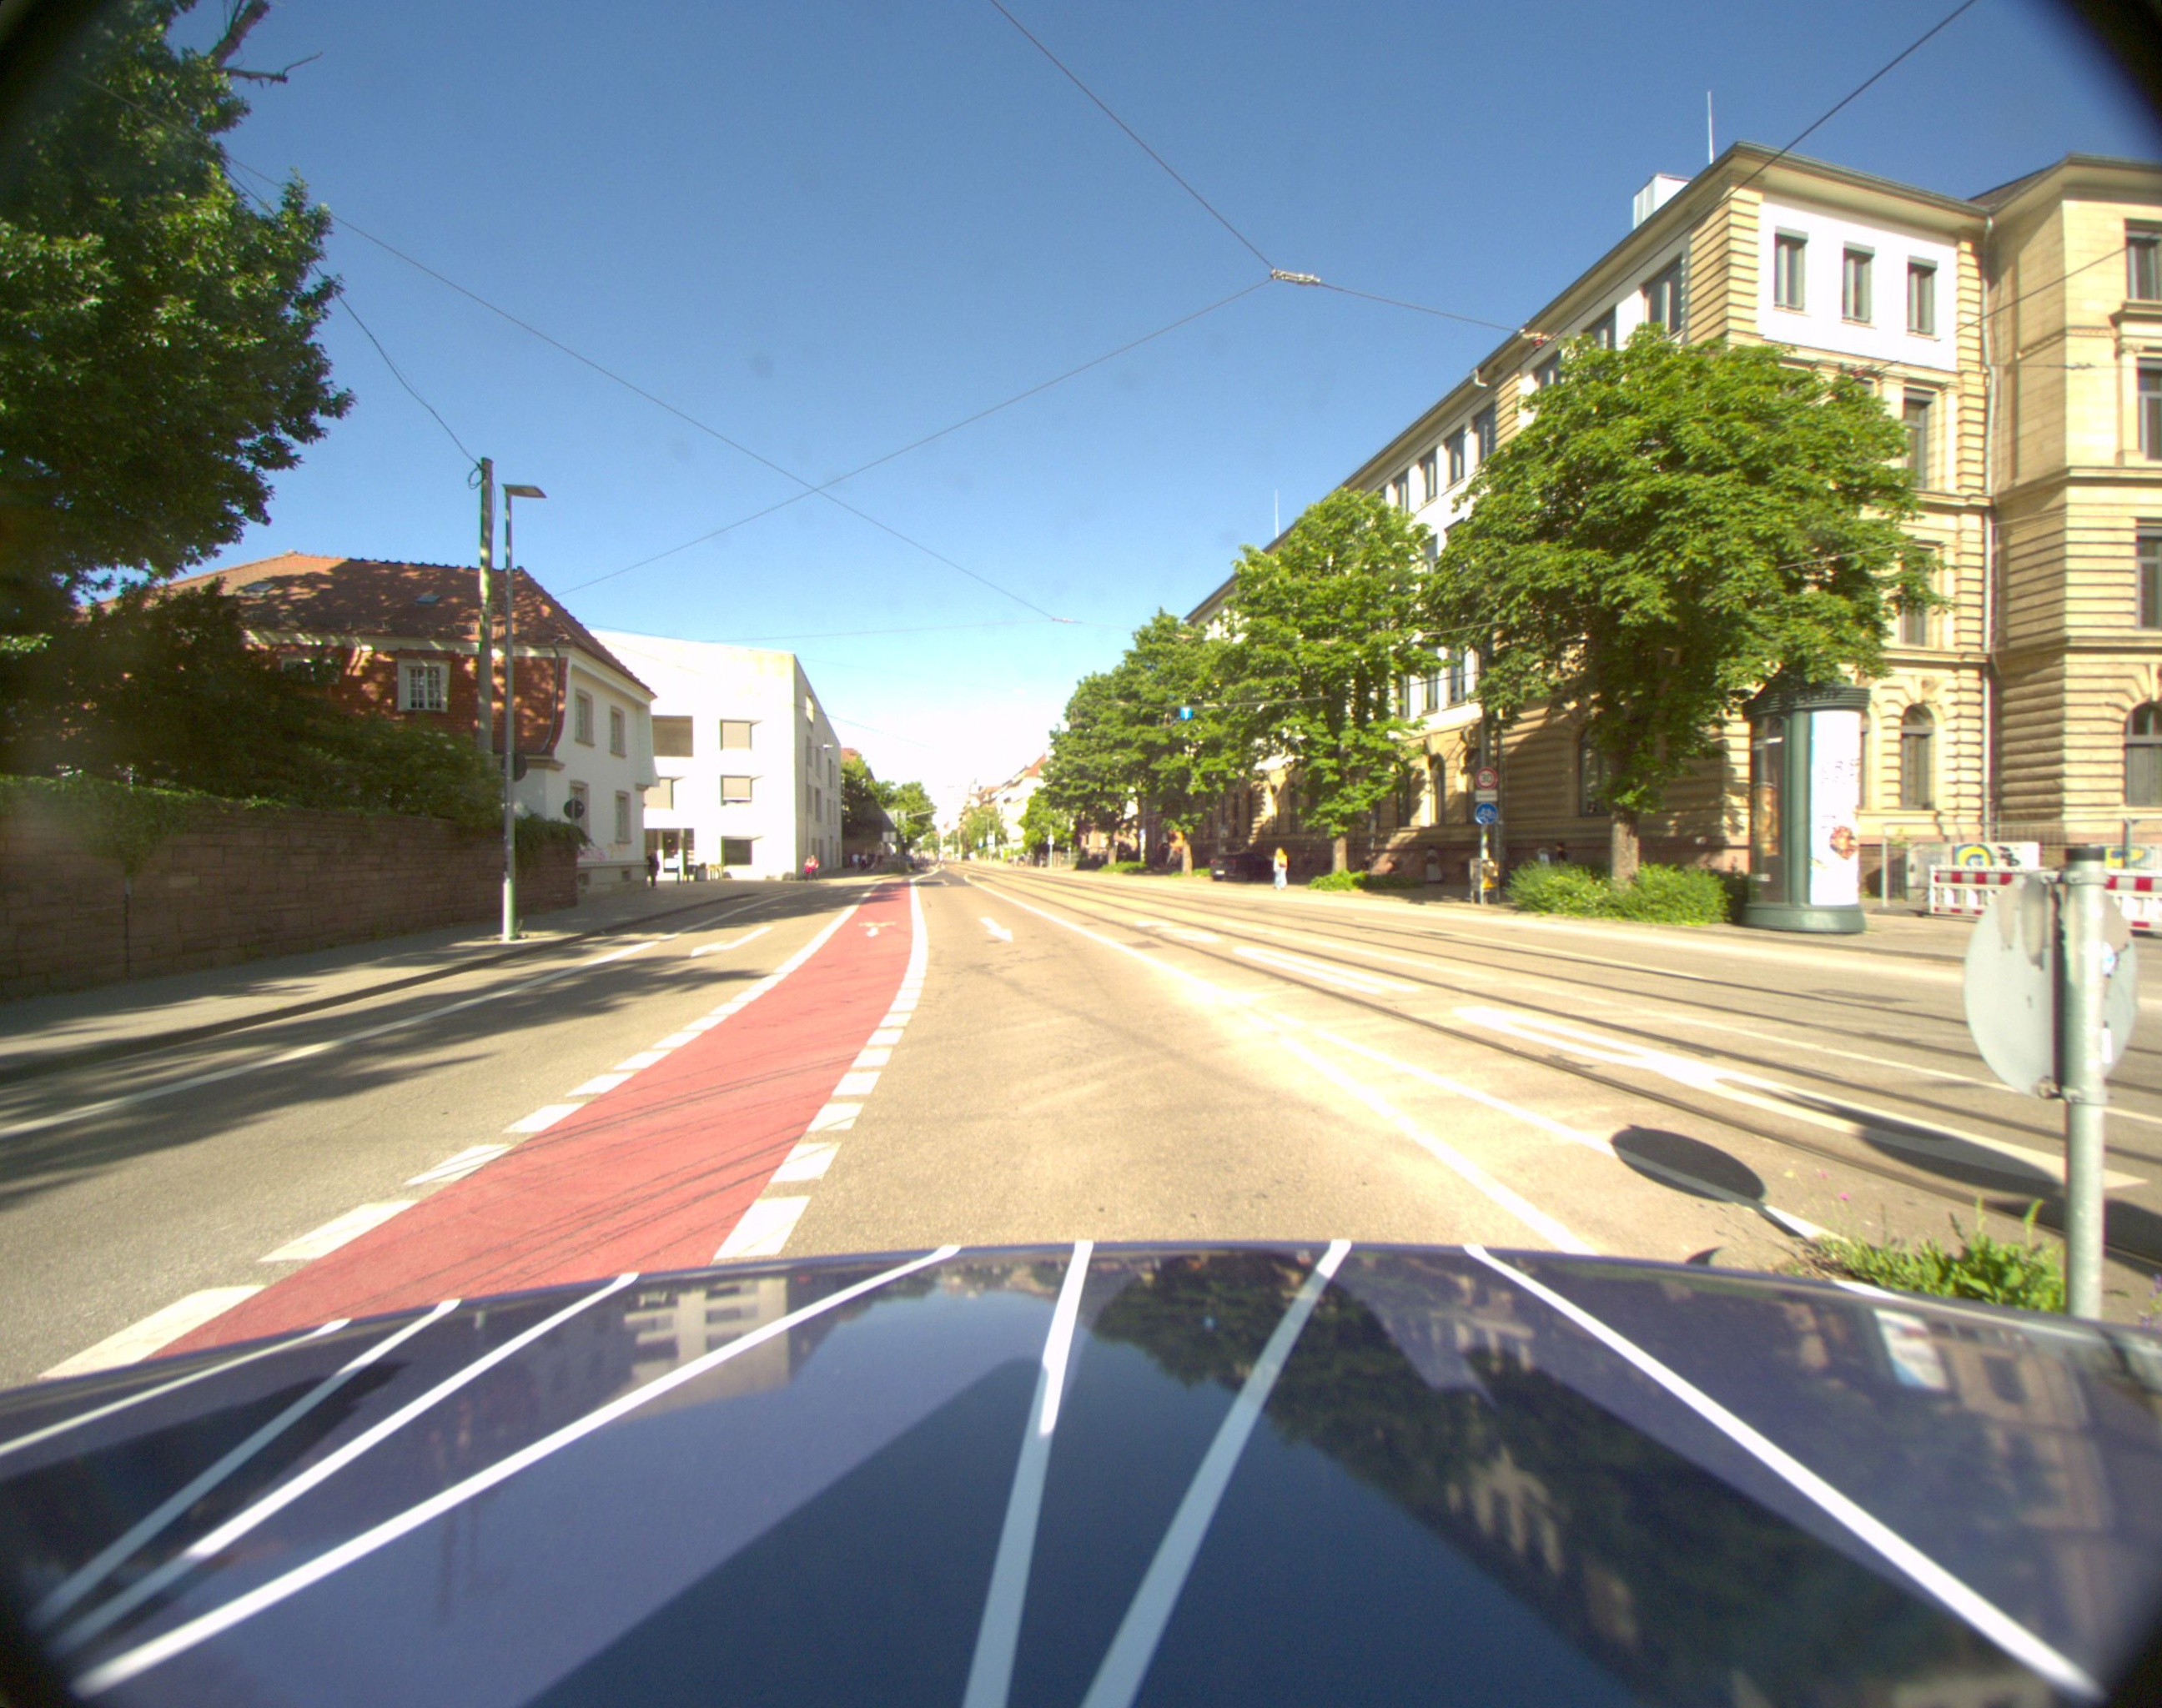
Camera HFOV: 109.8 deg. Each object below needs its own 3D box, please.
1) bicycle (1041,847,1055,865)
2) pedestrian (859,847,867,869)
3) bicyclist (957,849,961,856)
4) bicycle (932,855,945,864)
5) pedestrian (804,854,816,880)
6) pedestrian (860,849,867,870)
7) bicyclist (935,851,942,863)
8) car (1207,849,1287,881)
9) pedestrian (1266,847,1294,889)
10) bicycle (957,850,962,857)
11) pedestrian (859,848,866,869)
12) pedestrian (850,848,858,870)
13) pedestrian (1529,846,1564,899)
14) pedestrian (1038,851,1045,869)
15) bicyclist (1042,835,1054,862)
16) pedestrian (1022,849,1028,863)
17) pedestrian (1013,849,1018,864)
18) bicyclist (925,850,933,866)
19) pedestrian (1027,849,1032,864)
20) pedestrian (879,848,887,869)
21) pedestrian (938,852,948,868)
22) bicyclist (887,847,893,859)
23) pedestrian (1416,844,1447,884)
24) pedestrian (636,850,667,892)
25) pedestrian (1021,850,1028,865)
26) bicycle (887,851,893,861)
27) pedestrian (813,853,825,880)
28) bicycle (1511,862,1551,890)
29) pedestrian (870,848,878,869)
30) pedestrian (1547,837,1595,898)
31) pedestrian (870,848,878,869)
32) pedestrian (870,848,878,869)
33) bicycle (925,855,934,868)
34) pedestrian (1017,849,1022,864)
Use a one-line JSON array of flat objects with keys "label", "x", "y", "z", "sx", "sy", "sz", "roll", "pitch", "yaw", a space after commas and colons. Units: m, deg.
[{"label": "bicycle", "x": -3.735, "y": 0.173, "z": 86.262, "sx": 1.003, "sy": 1.876, "sz": 3.894, "roll": -1, "pitch": 2, "yaw": 4}, {"label": "pedestrian", "x": -18.198, "y": 0.355, "z": 63.490, "sx": 0.588, "sy": 1.795, "sz": 0.545, "roll": -1, "pitch": 1, "yaw": -13}, {"label": "bicyclist", "x": -30.213, "y": -0.473, "z": 188.295, "sx": 1.004, "sy": 1.712, "sz": 0.983, "roll": -2, "pitch": 2, "yaw": -12}, {"label": "bicycle", "x": -27.268, "y": 1.079, "z": 145.525, "sx": 1.005, "sy": 1.672, "sz": 2.976, "roll": -3, "pitch": 2, "yaw": -39}, {"label": "pedestrian", "x": -16.346, "y": 0.754, "z": 45.828, "sx": 0.534, "sy": 1.557, "sz": 0.520, "roll": -1, "pitch": 1, "yaw": -3}, {"label": "pedestrian", "x": -19.124, "y": 0.460, "z": 66.833, "sx": 0.588, "sy": 1.795, "sz": 0.545, "roll": -1, "pitch": 1, "yaw": -13}, {"label": "bicyclist", "x": -27.287, "y": 0.552, "z": 145.535, "sx": 1.005, "sy": 2.255, "sz": 1.018, "roll": -3, "pitch": 3, "yaw": -39}, {"label": "car", "x": 8.647, "y": 0.544, "z": 39.441, "sx": 4.118, "sy": 1.565, "sz": 1.916, "roll": -1, "pitch": 1, "yaw": -39}, {"label": "pedestrian", "x": 8.151, "y": 0.578, "z": 31.113, "sx": 0.771, "sy": 1.658, "sz": 1.034, "roll": 1, "pitch": -3, "yaw": -6}, {"label": "bicycle", "x": -30.200, "y": -0.096, "z": 188.315, "sx": 1.004, "sy": 1.672, "sz": 2.981, "roll": -2, "pitch": 2, "yaw": -12}, {"label": "pedestrian", "x": -18.817, "y": 0.368, "z": 65.458, "sx": 0.588, "sy": 1.795, "sz": 0.582, "roll": -1, "pitch": 1, "yaw": -13}, {"label": "pedestrian", "x": -18.905, "y": 0.413, "z": 63.326, "sx": 0.588, "sy": 1.795, "sz": 0.545, "roll": -1, "pitch": 1, "yaw": -13}, {"label": "pedestrian", "x": 13.995, "y": 0.538, "z": 22.851, "sx": 0.579, "sy": 1.553, "sz": 0.653, "roll": -1, "pitch": 1, "yaw": -12}, {"label": "pedestrian", "x": -4.119, "y": 0.649, "z": 79.662, "sx": 0.579, "sy": 1.845, "sz": 0.653, "roll": -1, "pitch": 1, "yaw": -16}, {"label": "bicyclist", "x": -3.752, "y": -0.661, "z": 86.342, "sx": 1.003, "sy": 2.959, "sz": 1.474, "roll": -1, "pitch": 2, "yaw": 5}, {"label": "pedestrian", "x": -7.105, "y": 0.255, "z": 96.171, "sx": 0.579, "sy": 1.845, "sz": 0.684, "roll": 0, "pitch": 1, "yaw": -11}, {"label": "pedestrian", "x": -8.205, "y": 0.309, "z": 95.279, "sx": 0.579, "sy": 1.845, "sz": 0.684, "roll": 0, "pitch": 1, "yaw": -11}, {"label": "bicyclist", "x": -14.611, "y": 0.380, "z": 73.197, "sx": 0.665, "sy": 1.453, "sz": 0.622, "roll": -2, "pitch": 2, "yaw": -8}, {"label": "pedestrian", "x": -6.491, "y": 0.329, "z": 95.732, "sx": 0.579, "sy": 1.845, "sz": 0.653, "roll": 0, "pitch": 1, "yaw": -11}, {"label": "pedestrian", "x": -16.672, "y": 0.390, "z": 64.059, "sx": 0.588, "sy": 1.717, "sz": 0.519, "roll": -1, "pitch": 1, "yaw": -13}, {"label": "pedestrian", "x": -15.618, "y": 0.654, "z": 86.036, "sx": 0.933, "sy": 1.728, "sz": 0.677, "roll": -1, "pitch": 1, "yaw": -31}, {"label": "bicyclist", "x": -35.251, "y": -0.205, "z": 140.205, "sx": 0.813, "sy": 2.194, "sz": 0.983, "roll": -2, "pitch": 2, "yaw": -10}, {"label": "pedestrian", "x": 14.340, "y": 0.400, "z": 31.082, "sx": 0.673, "sy": 1.558, "sz": 0.857, "roll": -5, "pitch": 2, "yaw": -16}, {"label": "pedestrian", "x": -17.755, "y": 0.701, "z": 31.380, "sx": 0.942, "sy": 1.668, "sz": 0.951, "roll": 1, "pitch": 1, "yaw": -39}, {"label": "pedestrian", "x": -6.934, "y": 0.448, "z": 93.570, "sx": 0.729, "sy": 1.845, "sz": 0.653, "roll": 0, "pitch": 1, "yaw": -9}, {"label": "bicycle", "x": -35.246, "y": 0.339, "z": 140.320, "sx": 0.831, "sy": 1.694, "sz": 2.169, "roll": -2, "pitch": 2, "yaw": -10}, {"label": "pedestrian", "x": -15.746, "y": 0.741, "z": 45.627, "sx": 0.534, "sy": 1.557, "sz": 0.520, "roll": -1, "pitch": 1, "yaw": -3}, {"label": "bicycle", "x": 15.277, "y": 0.738, "z": 25.823, "sx": 0.398, "sy": 0.898, "sz": 1.359, "roll": -2, "pitch": 2, "yaw": -10}, {"label": "pedestrian", "x": -18.270, "y": 0.391, "z": 67.055, "sx": 0.588, "sy": 1.795, "sz": 0.545, "roll": -1, "pitch": 1, "yaw": -13}, {"label": "pedestrian", "x": 13.782, "y": 0.360, "z": 21.391, "sx": 0.731, "sy": 1.660, "sz": 0.844, "roll": -2, "pitch": 4, "yaw": -26}, {"label": "pedestrian", "x": -17.341, "y": 0.377, "z": 63.530, "sx": 0.588, "sy": 1.795, "sz": 0.519, "roll": -1, "pitch": 1, "yaw": -13}, {"label": "pedestrian", "x": -17.887, "y": 0.368, "z": 65.572, "sx": 0.588, "sy": 1.795, "sz": 0.582, "roll": -1, "pitch": 1, "yaw": -13}, {"label": "bicycle", "x": -14.606, "y": 0.722, "z": 73.234, "sx": 0.665, "sy": 1.146, "sz": 1.670, "roll": -2, "pitch": 2, "yaw": -8}, {"label": "pedestrian", "x": -7.752, "y": 0.278, "z": 95.998, "sx": 0.579, "sy": 1.845, "sz": 0.684, "roll": 0, "pitch": 1, "yaw": -11}]
